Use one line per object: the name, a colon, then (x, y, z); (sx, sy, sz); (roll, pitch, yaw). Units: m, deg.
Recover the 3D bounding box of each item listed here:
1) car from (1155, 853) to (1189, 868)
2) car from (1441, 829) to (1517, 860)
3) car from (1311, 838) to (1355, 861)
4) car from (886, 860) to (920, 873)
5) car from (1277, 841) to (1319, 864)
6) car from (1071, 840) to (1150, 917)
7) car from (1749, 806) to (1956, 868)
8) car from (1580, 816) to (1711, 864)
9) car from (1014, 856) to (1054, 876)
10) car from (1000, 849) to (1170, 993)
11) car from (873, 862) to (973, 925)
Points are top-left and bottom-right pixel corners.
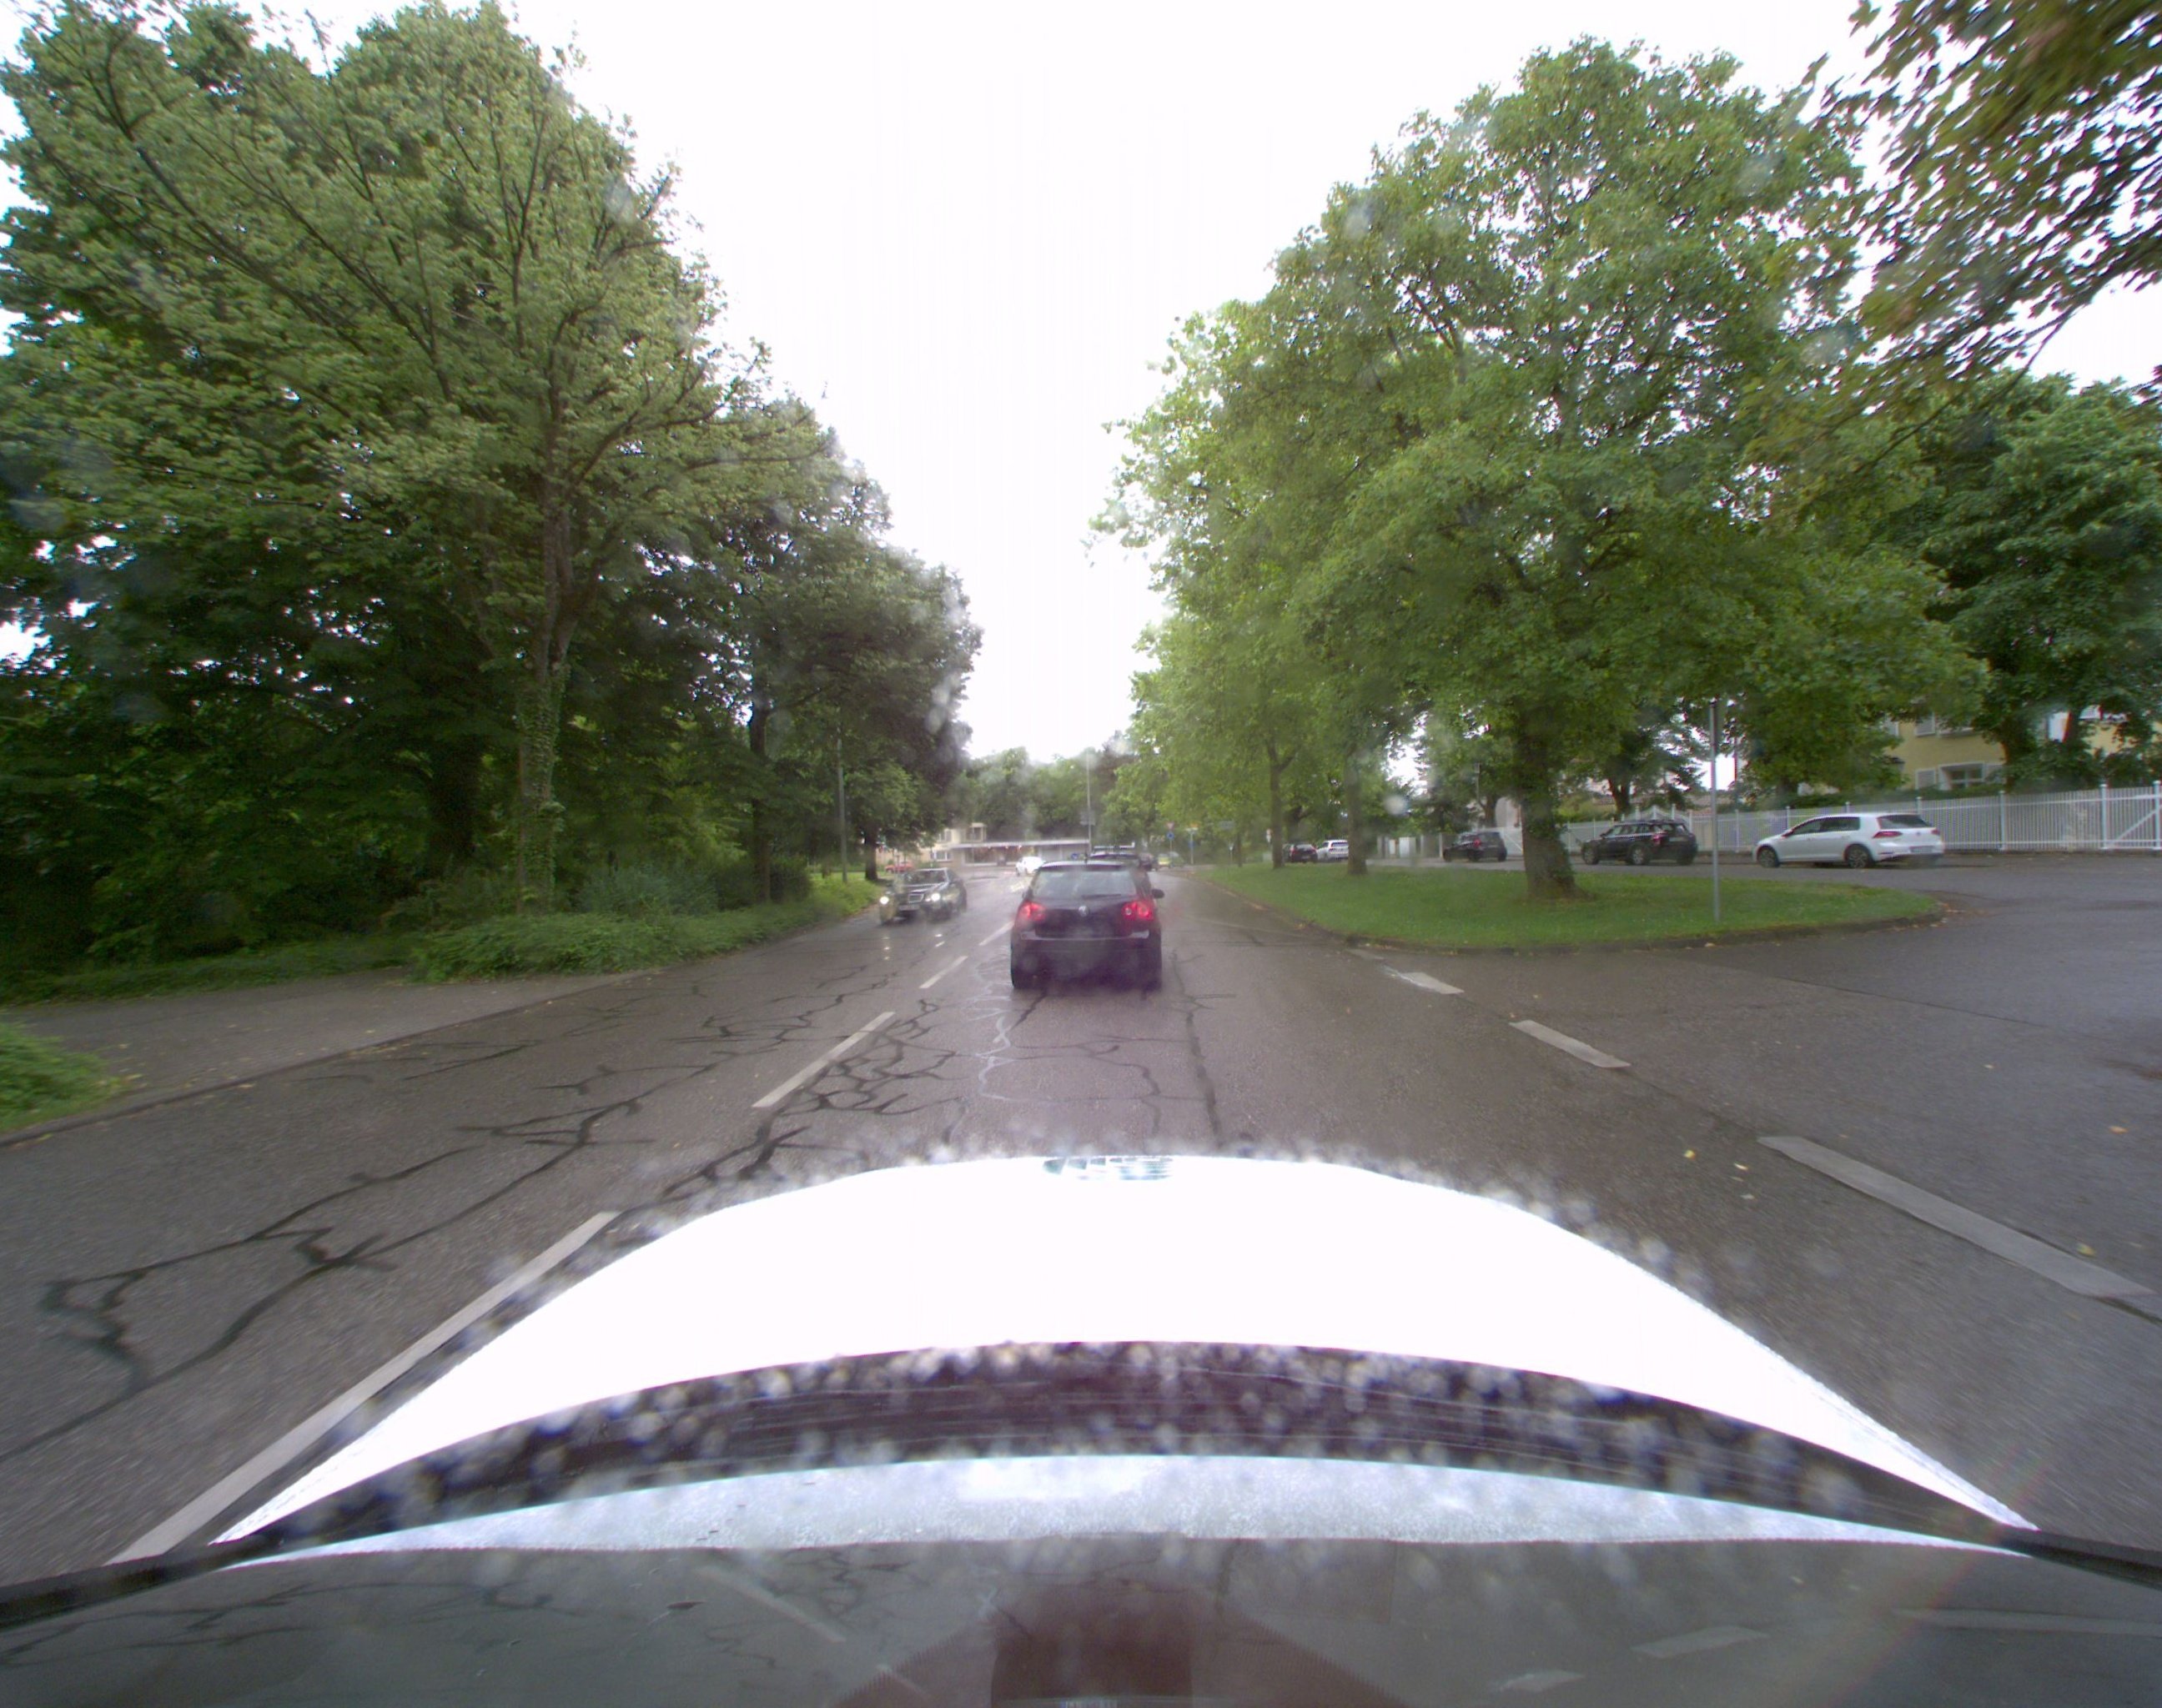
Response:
car: (8.587, 0.597, 76.842); (3.148, 1.310, 1.521); (-2, -1, -44)
car: (19.984, -0.478, 41.046); (1.796, 1.411, 4.112); (-3, 1, 0)
car: (16.773, -0.302, 54.345); (1.796, 1.406, 4.003); (-4, 0, 3)
car: (-21.790, 1.527, 99.659); (3.642, 1.513, 1.715); (-3, -1, 6)
car: (14.362, -0.097, 54.072); (1.796, 1.385, 4.003); (-4, 0, 3)
car: (0.821, 0.610, 21.545); (1.848, 1.785, 4.003); (-2, -1, 3)
car: (20.241, -0.424, 21.623); (1.611, 1.409, 4.008); (-3, 1, -1)
car: (20.027, -0.491, 29.143); (1.796, 1.529, 4.112); (-3, 1, 0)
car: (-3.752, 0.935, 64.270); (1.848, 1.419, 4.479); (-3, 0, -20)
car: (0.150, 0.721, 10.534); (1.791, 1.515, 3.757); (-1, 0, 3)
car: (-4.158, 0.990, 22.039); (1.791, 1.393, 3.979); (-4, 0, 1)
